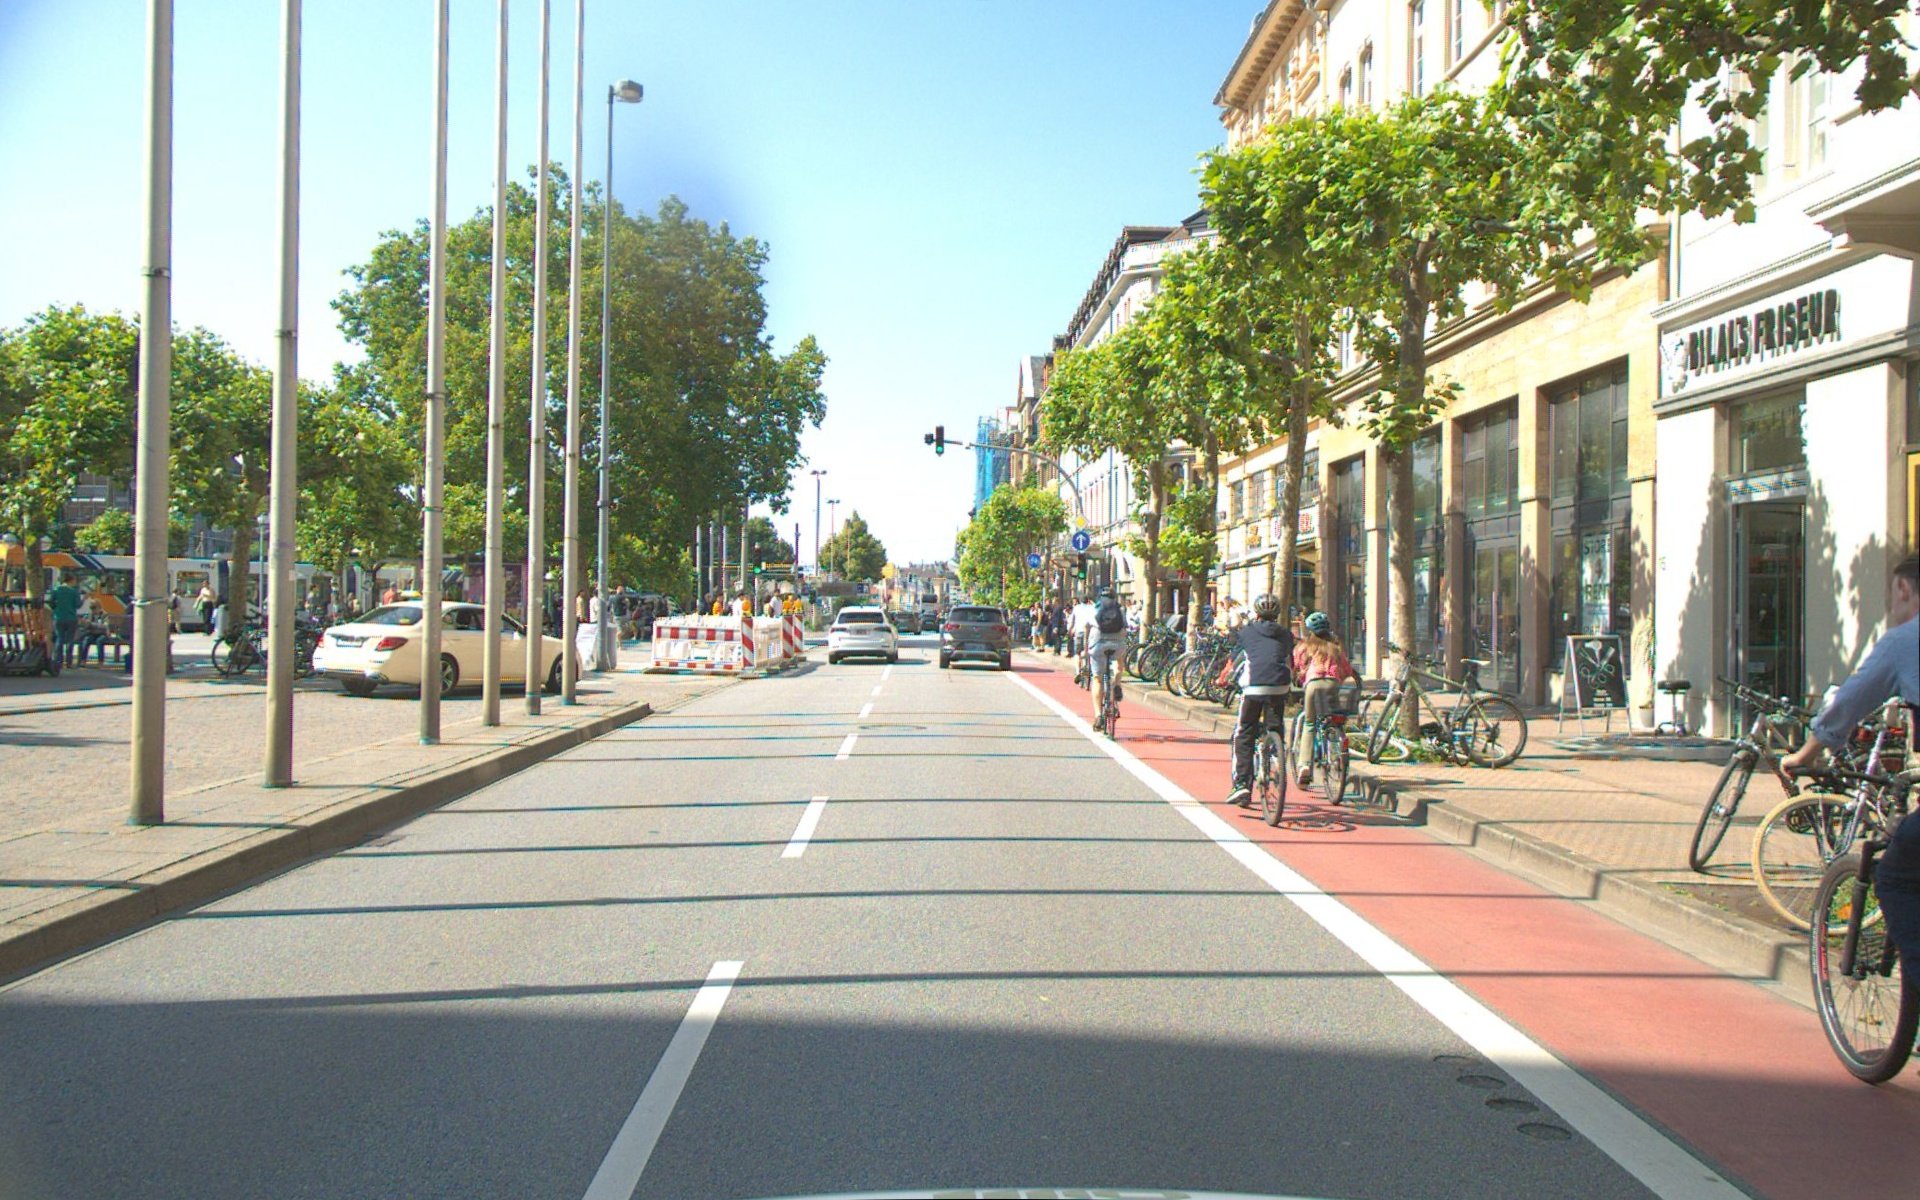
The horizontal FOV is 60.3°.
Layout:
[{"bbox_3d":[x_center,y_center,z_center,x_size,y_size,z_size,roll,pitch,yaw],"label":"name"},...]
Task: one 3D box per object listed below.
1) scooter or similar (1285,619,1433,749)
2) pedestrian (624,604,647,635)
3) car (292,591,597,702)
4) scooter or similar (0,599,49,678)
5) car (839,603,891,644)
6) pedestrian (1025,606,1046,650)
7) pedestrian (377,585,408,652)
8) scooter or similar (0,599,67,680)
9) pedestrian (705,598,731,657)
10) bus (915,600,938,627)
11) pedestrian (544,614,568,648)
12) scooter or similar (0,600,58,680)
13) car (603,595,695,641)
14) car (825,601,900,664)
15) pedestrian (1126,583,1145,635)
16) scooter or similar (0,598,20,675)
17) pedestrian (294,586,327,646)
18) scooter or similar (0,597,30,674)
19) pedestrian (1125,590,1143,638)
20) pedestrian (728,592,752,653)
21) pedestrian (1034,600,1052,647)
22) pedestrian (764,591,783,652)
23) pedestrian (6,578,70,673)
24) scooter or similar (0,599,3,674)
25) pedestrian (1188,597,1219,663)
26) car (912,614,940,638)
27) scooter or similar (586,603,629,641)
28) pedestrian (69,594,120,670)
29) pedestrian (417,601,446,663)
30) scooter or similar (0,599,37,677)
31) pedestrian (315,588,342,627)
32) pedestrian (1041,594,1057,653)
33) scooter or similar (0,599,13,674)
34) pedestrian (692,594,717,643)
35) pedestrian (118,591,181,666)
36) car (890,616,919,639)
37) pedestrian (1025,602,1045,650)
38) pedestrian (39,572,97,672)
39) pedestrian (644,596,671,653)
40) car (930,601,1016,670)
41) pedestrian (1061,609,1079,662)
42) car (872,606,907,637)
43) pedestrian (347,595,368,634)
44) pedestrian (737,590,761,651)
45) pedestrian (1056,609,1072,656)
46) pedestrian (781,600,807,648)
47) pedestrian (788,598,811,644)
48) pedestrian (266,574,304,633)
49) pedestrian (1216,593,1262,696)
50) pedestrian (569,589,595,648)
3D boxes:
[{"bbox_3d":[4.235,0.875,17.639,1.443,1.297,0.670,2,-1,9],"label":"scooter or similar"},{"bbox_3d":[-12.531,0.746,63.829,0.619,1.164,0.665,0,-1,19],"label":"pedestrian"},{"bbox_3d":[-8.158,0.742,26.713,1.854,1.569,4.857,1,-1,26],"label":"car"},{"bbox_3d":[-15.041,0.601,26.130,0.228,1.235,1.303,1,-1,18],"label":"scooter or similar"},{"bbox_3d":[-3.463,0.838,60.917,1.808,1.474,3.998,0,0,-2],"label":"car"},{"bbox_3d":[2.730,0.996,59.755,0.598,1.542,0.677,-3,-1,-3],"label":"pedestrian"},{"bbox_3d":[-16.424,0.542,47.871,0.656,1.912,0.624,3,-1,-35],"label":"pedestrian"},{"bbox_3d":[-14.624,0.610,25.884,0.228,1.235,1.303,1,-1,18],"label":"scooter or similar"},{"bbox_3d":[-7.196,0.818,49.182,0.534,1.748,0.599,3,-1,-32],"label":"pedestrian"},{"bbox_3d":[-4.633,1.885,226.512,2.934,3.657,11.738,1,-1,-2],"label":"bus"},{"bbox_3d":[-15.956,1.220,65.371,0.619,1.316,0.731,0,-1,19],"label":"pedestrian"},{"bbox_3d":[-14.833,0.628,26.027,0.228,1.235,1.303,1,-1,18],"label":"scooter or similar"},{"bbox_3d":[-13.775,0.814,73.542,1.820,1.989,4.762,0,-1,19],"label":"car"},{"bbox_3d":[-2.547,0.832,43.958,1.808,1.587,3.999,0,0,-1],"label":"car"},{"bbox_3d":[5.655,0.307,53.406,0.537,1.669,0.589,-1,-1,2],"label":"pedestrian"},{"bbox_3d":[-15.700,0.584,26.460,0.228,1.235,1.303,1,-1,18],"label":"scooter or similar"},{"bbox_3d":[-17.248,0.437,43.937,0.564,1.559,0.606,2,-1,4],"label":"pedestrian"},{"bbox_3d":[-15.474,0.563,26.341,0.228,1.235,1.303,1,-1,18],"label":"scooter or similar"},{"bbox_3d":[6.014,0.480,57.202,0.512,1.637,0.641,0,-1,-1],"label":"pedestrian"},{"bbox_3d":[-6.642,0.680,49.893,0.528,1.811,0.606,2,-1,4],"label":"pedestrian"},{"bbox_3d":[3.335,0.956,66.434,0.598,1.855,0.677,1,-1,-3],"label":"pedestrian"},{"bbox_3d":[-6.005,0.689,53.200,0.521,1.953,0.560,1,-1,0],"label":"pedestrian"},{"bbox_3d":[-16.249,0.442,29.157,0.790,1.634,0.670,2,-1,-15],"label":"pedestrian"},{"bbox_3d":[-16.130,0.584,26.714,0.258,1.235,1.303,1,-1,18],"label":"scooter or similar"},{"bbox_3d":[6.833,0.854,46.365,0.644,1.822,1.232,1,-3,-2],"label":"pedestrian"},{"bbox_3d":[-2.651,2.011,127.563,1.809,1.697,3.996,2,0,-5],"label":"car"},{"bbox_3d":[-13.786,0.865,64.740,1.252,1.445,1.037,0,-1,29],"label":"scooter or similar"},{"bbox_3d":[-15.421,0.562,29.475,0.661,1.332,0.683,2,-1,-19],"label":"pedestrian"},{"bbox_3d":[-15.315,0.930,47.938,0.564,1.769,0.606,2,-1,4],"label":"pedestrian"},{"bbox_3d":[-15.268,0.603,26.201,0.228,1.235,1.303,1,-1,18],"label":"scooter or similar"},{"bbox_3d":[-21.074,0.242,55.198,0.601,1.284,0.609,0,-1,44],"label":"pedestrian"},{"bbox_3d":[2.922,0.765,54.459,0.512,1.931,0.641,-1,-1,2],"label":"pedestrian"},{"bbox_3d":[-15.897,0.588,26.619,0.228,1.235,1.303,1,-1,18],"label":"scooter or similar"},{"bbox_3d":[-9.644,0.712,62.430,0.619,1.842,0.731,0,-1,19],"label":"pedestrian"},{"bbox_3d":[-15.612,0.542,31.878,0.657,1.405,0.898,1,-1,7],"label":"pedestrian"},{"bbox_3d":[-3.546,1.749,106.297,1.808,1.438,3.998,1,0,-2],"label":"car"},{"bbox_3d":[2.824,0.973,62.466,0.598,1.770,0.677,-3,-1,-3],"label":"pedestrian"},{"bbox_3d":[-15.519,0.376,28.786,0.659,1.707,0.686,1,-1,-10],"label":"pedestrian"},{"bbox_3d":[-10.073,0.816,55.081,0.619,1.891,0.687,0,-1,19],"label":"pedestrian"},{"bbox_3d":[0.264,0.850,41.279,1.809,1.586,3.997,2,0,-4],"label":"car"},{"bbox_3d":[3.459,1.121,52.046,0.537,1.659,0.589,-1,-1,2],"label":"pedestrian"},{"bbox_3d":[-3.793,1.129,88.964,1.808,1.587,3.998,1,0,-2],"label":"car"},{"bbox_3d":[-19.747,0.472,54.174,0.601,1.284,0.608,1,-1,-23],"label":"pedestrian"},{"bbox_3d":[-6.222,0.589,48.751,0.425,1.770,0.599,3,-1,-32],"label":"pedestrian"},{"bbox_3d":[3.407,1.062,54.235,0.512,1.548,0.641,-1,-1,2],"label":"pedestrian"},{"bbox_3d":[-5.704,0.829,56.831,0.619,1.623,0.687,0,-1,19],"label":"pedestrian"},{"bbox_3d":[-6.516,0.864,67.315,0.620,1.866,0.730,0,-1,28],"label":"pedestrian"},{"bbox_3d":[-20.471,0.111,50.150,0.593,1.780,0.802,1,-2,30],"label":"pedestrian"},{"bbox_3d":[4.540,0.723,26.958,0.602,1.640,0.744,1,-1,-1],"label":"pedestrian"},{"bbox_3d":[-11.502,0.542,50.328,0.572,1.751,0.789,1,2,0],"label":"pedestrian"}]
